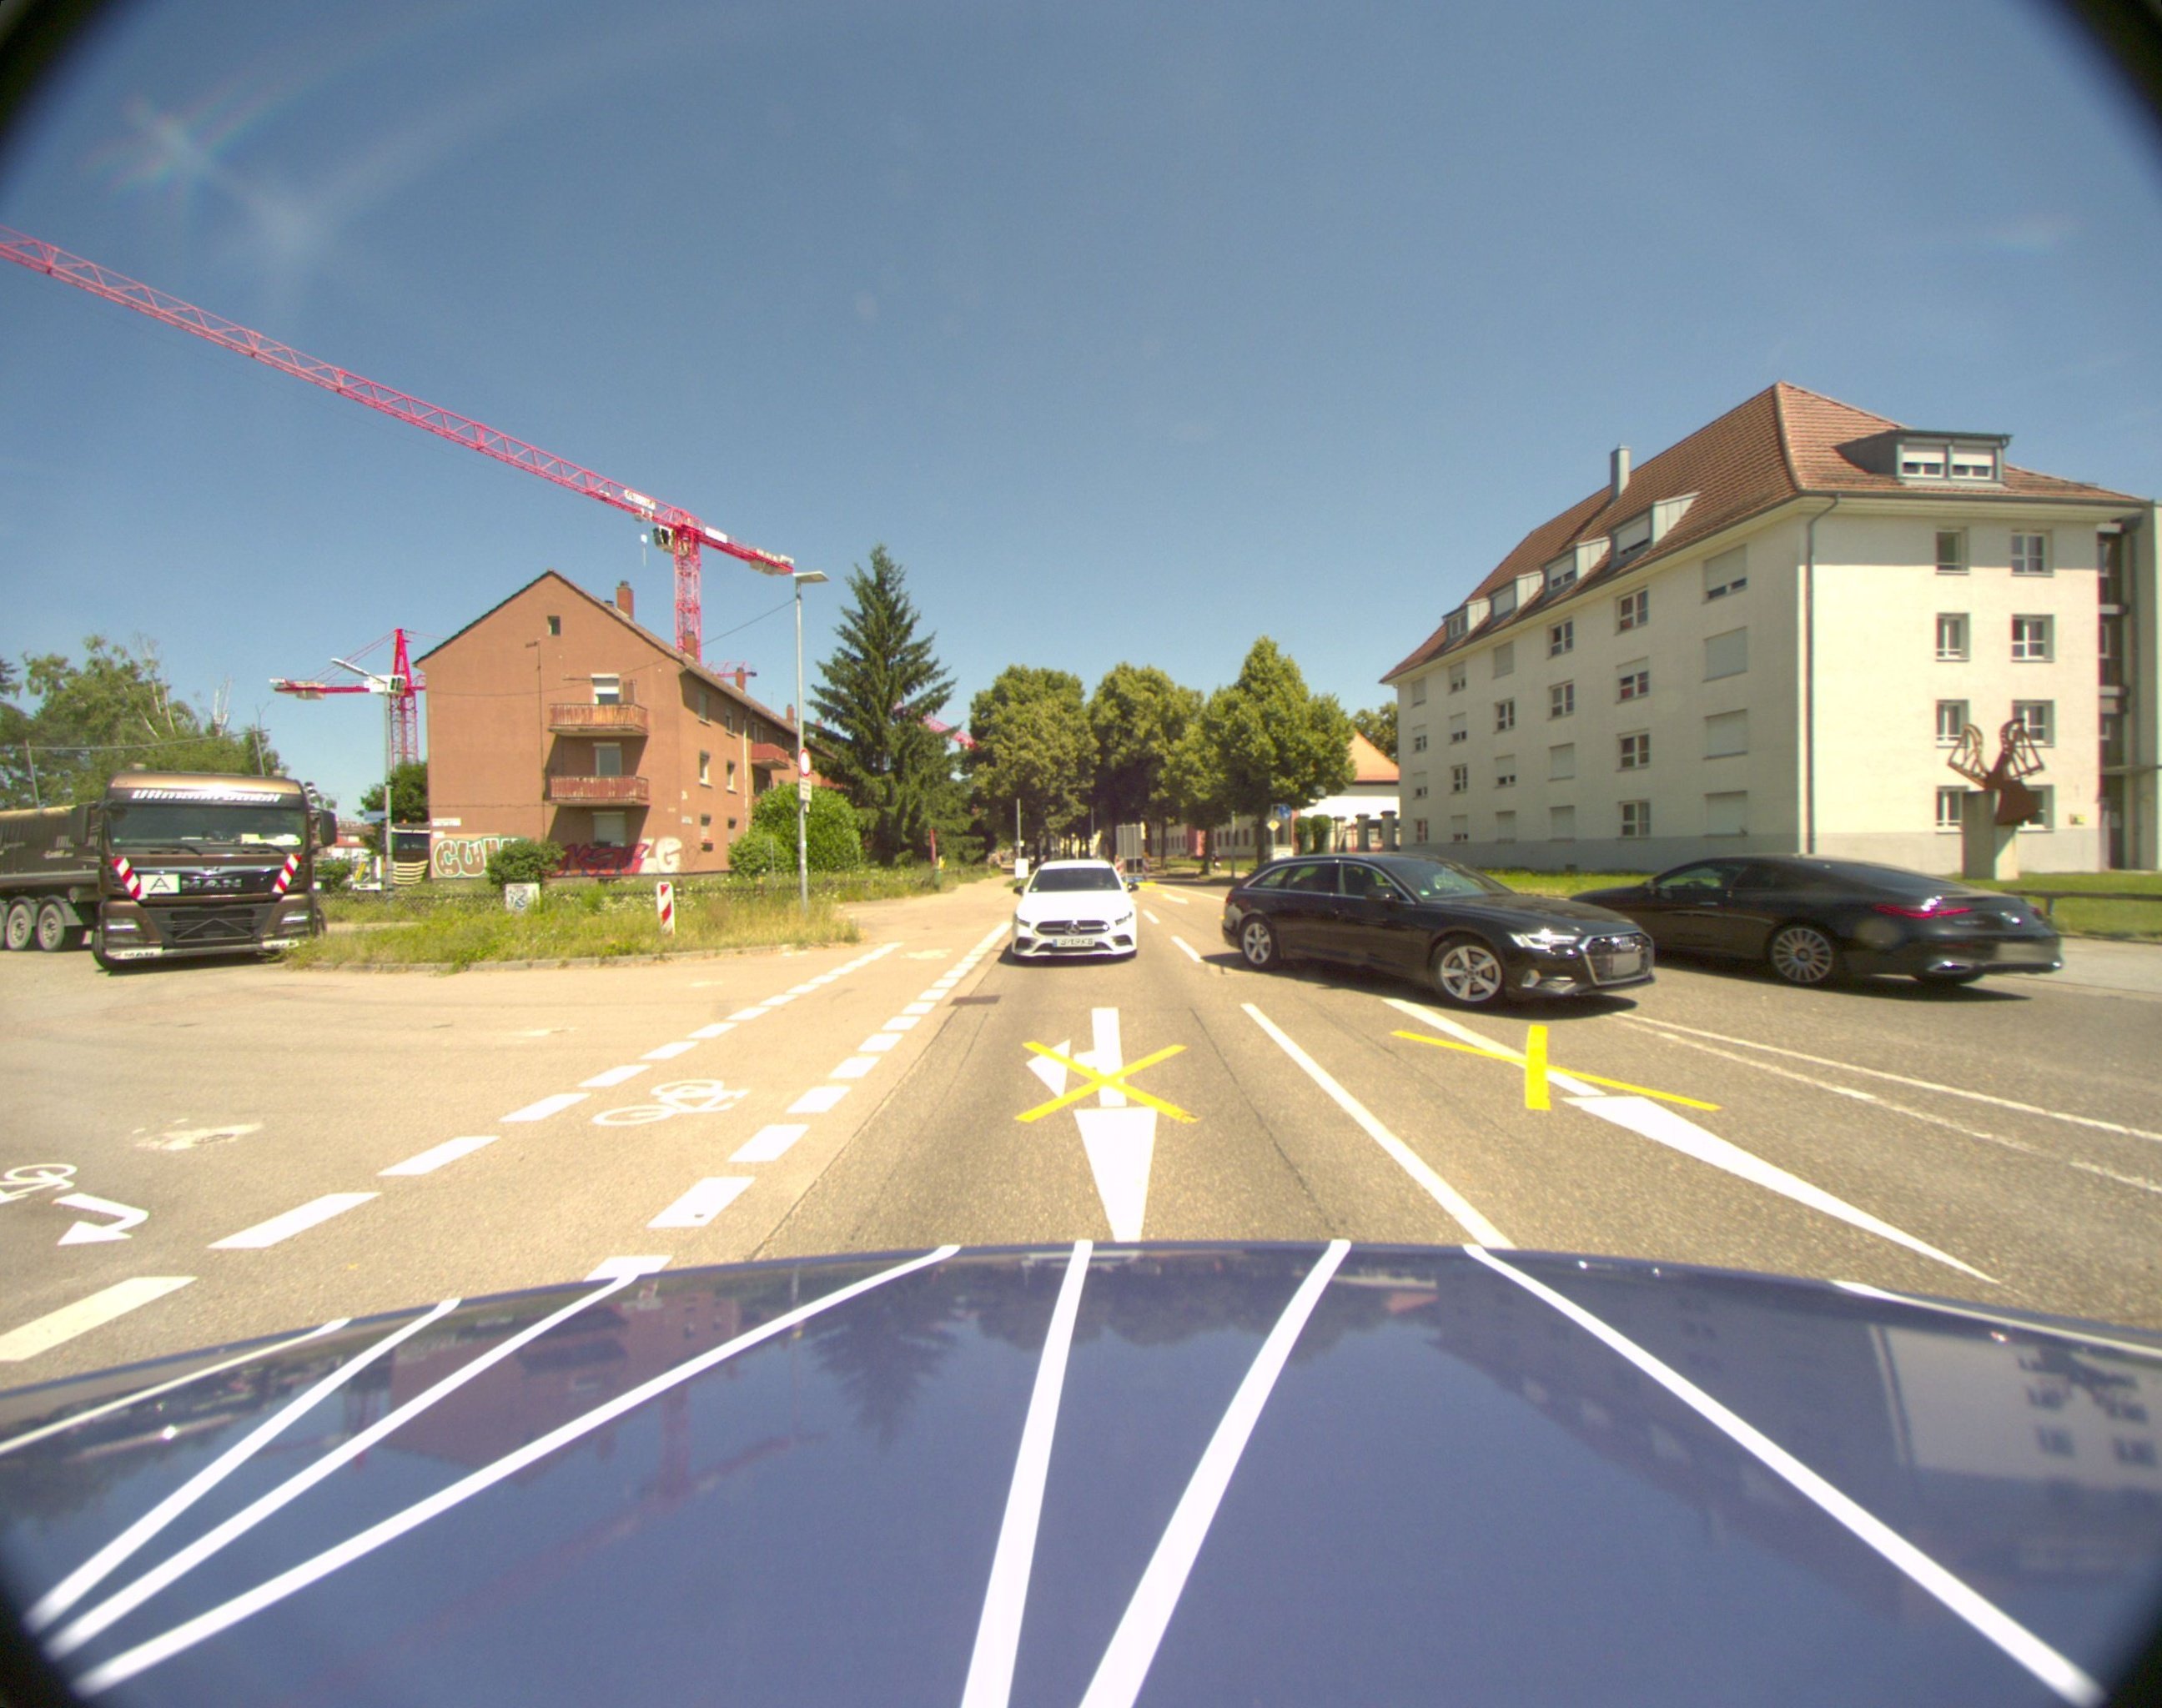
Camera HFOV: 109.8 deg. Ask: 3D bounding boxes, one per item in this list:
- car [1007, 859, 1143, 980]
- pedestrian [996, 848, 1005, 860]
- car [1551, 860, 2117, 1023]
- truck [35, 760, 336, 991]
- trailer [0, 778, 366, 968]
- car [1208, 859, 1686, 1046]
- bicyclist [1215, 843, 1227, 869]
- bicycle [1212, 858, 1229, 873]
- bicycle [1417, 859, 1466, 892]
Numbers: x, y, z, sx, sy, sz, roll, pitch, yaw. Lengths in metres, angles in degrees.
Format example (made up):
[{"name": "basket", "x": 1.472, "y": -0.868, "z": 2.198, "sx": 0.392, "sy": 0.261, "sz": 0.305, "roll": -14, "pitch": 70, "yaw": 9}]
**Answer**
[{"name": "car", "x": -0.142, "y": 0.888, "z": 12.185, "sx": 1.780, "sy": 1.536, "sz": 3.962, "roll": -2, "pitch": 0, "yaw": -2}, {"name": "pedestrian", "x": -10.240, "y": -0.017, "z": 96.651, "sx": 1.024, "sy": 1.509, "sz": 0.682, "roll": -1, "pitch": 1, "yaw": 0}, {"name": "car", "x": 8.201, "y": 0.791, "z": 9.082, "sx": 1.821, "sy": 1.395, "sz": 4.630, "roll": 0, "pitch": 0, "yaw": -9}, {"name": "truck", "x": -16.534, "y": 0.337, "z": 14.333, "sx": 4.950, "sy": 3.512, "sz": 3.171, "roll": -1, "pitch": 1, "yaw": 42}, {"name": "trailer", "x": -20.836, "y": 0.415, "z": 16.922, "sx": 8.973, "sy": 3.512, "sz": 3.169, "roll": -1, "pitch": 0, "yaw": 18}, {"name": "car", "x": 3.529, "y": 0.804, "z": 8.398, "sx": 1.804, "sy": 1.443, "sz": 4.608, "roll": 0, "pitch": -1, "yaw": -27}, {"name": "bicyclist", "x": 8.914, "y": 0.134, "z": 48.508, "sx": 0.568, "sy": 1.601, "sz": 0.740, "roll": -1, "pitch": 1, "yaw": -5}, {"name": "bicycle", "x": 8.924, "y": 0.710, "z": 48.523, "sx": 0.562, "sy": 0.910, "sz": 1.907, "roll": -1, "pitch": 0, "yaw": -5}, {"name": "bicycle", "x": 12.469, "y": 0.713, "z": 26.320, "sx": 0.709, "sy": 1.018, "sz": 1.985, "roll": -4, "pitch": 1, "yaw": 0}]
